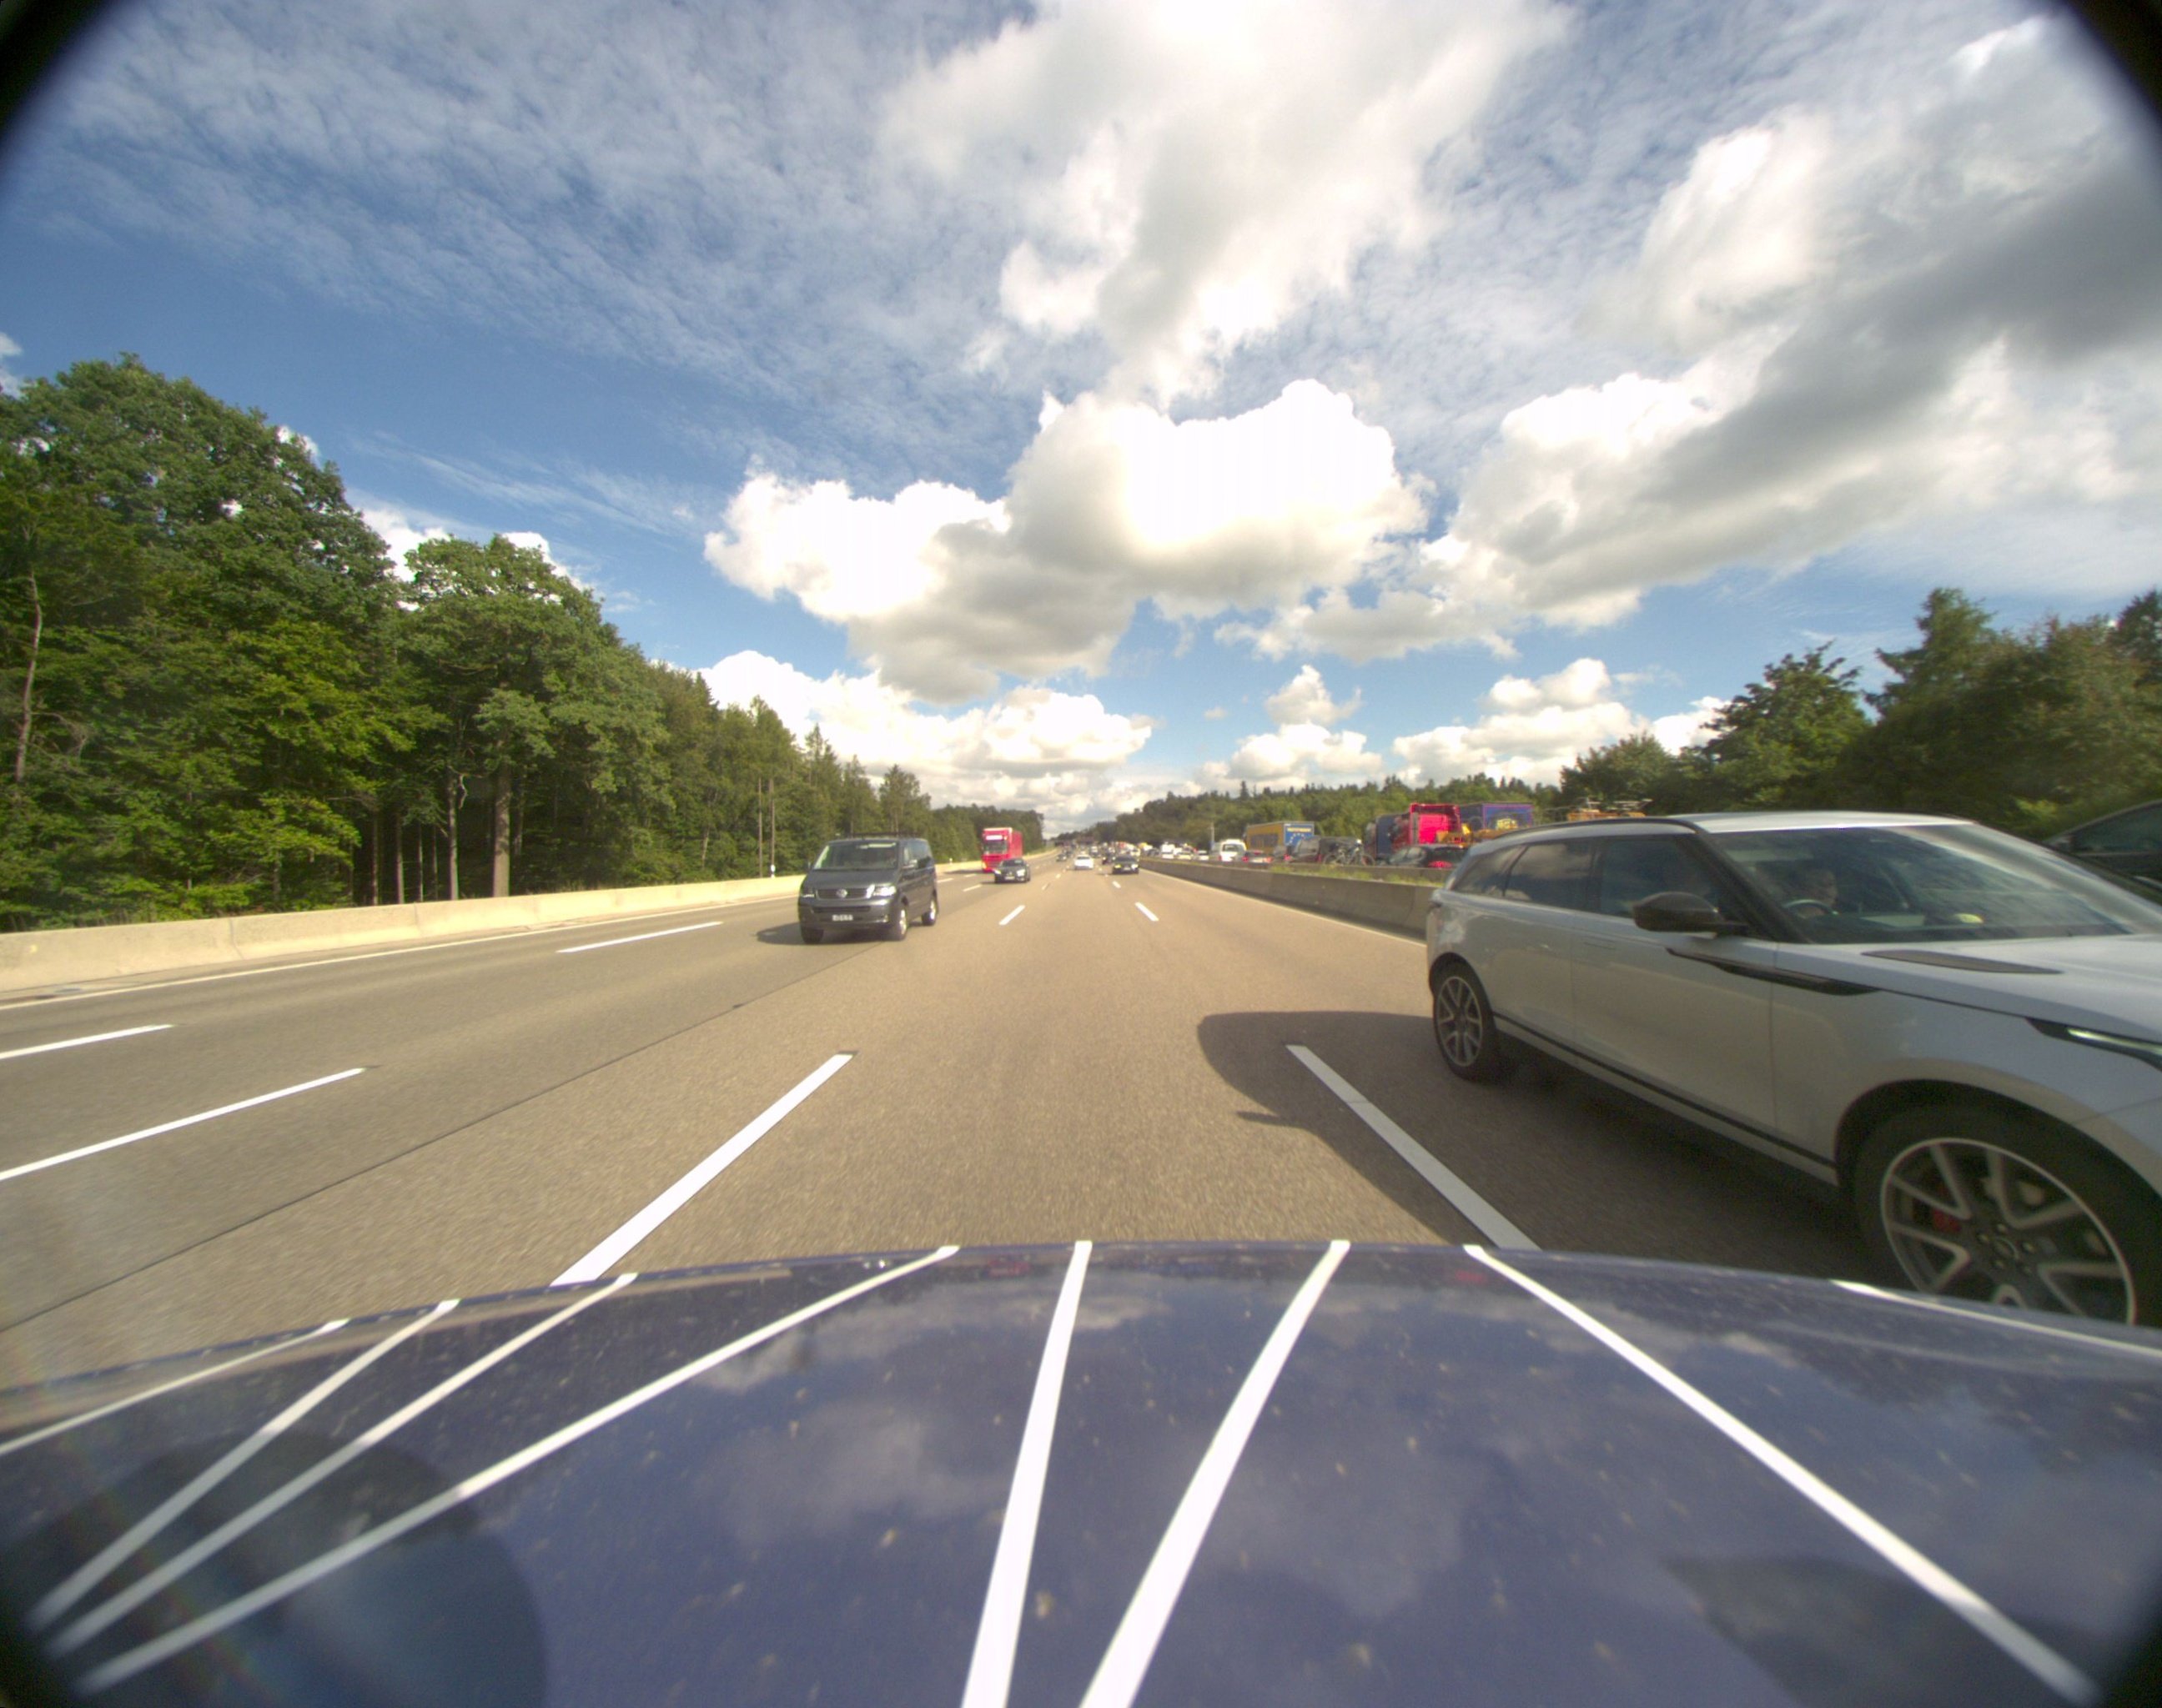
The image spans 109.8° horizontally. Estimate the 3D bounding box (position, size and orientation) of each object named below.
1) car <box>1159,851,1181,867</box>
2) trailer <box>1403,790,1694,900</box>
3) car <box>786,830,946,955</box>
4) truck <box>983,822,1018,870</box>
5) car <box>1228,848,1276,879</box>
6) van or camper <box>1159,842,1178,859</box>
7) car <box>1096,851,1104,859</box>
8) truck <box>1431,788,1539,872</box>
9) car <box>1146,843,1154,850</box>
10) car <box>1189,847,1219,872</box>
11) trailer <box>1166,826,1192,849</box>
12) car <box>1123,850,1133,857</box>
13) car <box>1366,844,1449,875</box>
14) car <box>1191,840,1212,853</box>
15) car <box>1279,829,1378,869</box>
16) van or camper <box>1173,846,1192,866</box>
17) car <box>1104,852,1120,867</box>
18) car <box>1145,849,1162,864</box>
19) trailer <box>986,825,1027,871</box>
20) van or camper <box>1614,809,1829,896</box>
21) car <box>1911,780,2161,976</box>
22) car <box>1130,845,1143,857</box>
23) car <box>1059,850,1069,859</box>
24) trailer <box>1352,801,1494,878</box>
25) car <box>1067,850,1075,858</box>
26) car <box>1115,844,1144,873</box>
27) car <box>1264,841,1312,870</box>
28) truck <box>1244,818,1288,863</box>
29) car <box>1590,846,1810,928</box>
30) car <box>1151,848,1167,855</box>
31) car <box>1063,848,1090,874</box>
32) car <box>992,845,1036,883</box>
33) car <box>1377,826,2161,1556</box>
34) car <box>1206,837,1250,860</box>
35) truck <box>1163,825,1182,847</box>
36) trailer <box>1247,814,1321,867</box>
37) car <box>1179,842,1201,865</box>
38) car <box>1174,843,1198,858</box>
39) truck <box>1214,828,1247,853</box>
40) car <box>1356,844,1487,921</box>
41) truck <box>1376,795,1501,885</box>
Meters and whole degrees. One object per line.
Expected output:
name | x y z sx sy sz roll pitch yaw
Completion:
car | 10.547 0.529 89.891 1.998 1.733 4.294 -3 1 0
trailer | 17.439 -0.283 30.541 2.735 3.316 14.218 -2 0 -1
car | -4.230 0.658 15.879 1.927 2.153 4.960 -1 1 -1
truck | -7.377 -0.739 70.197 2.532 4.179 4.652 -2 1 0
car | 9.651 0.502 43.233 1.728 1.594 3.999 -3 1 -1
van or camper | 14.351 -0.612 124.659 2.397 2.696 6.630 -2 2 2
car | 4.312 0.222 172.208 1.804 1.783 3.757 -1 1 0
truck | 21.325 -1.197 40.495 2.819 4.125 5.452 0 0 -1
car | 19.078 -2.077 210.423 1.804 1.865 3.950 -1 1 0
car | 10.066 0.394 62.349 1.691 1.806 4.294 -2 2 -1
trailer | 18.014 -3.099 140.777 2.837 3.953 16.000 -2 2 0
car | 9.678 -0.192 156.929 1.700 1.364 4.000 -3 0 1
car | 13.194 0.184 30.985 1.589 1.120 3.999 -3 0 -1
car | 13.819 -0.917 87.208 1.737 1.393 3.835 -2 2 -1
car | 9.613 -0.189 30.131 1.819 1.341 6.232 -3 0 -1
van or camper | 14.991 0.188 112.247 2.050 2.696 5.749 -2 2 1
car | 3.921 0.689 97.293 1.911 1.582 4.286 -2 2 0
car | 10.360 0.372 108.978 1.998 2.002 4.408 -1 2 1
trailer | -7.355 -0.709 76.860 2.531 4.096 14.373 -2 1 0
van or camper | 25.608 -0.088 30.967 2.579 3.059 7.194 -2 1 -1
car | 9.610 0.168 5.794 1.841 1.582 4.288 -2 1 -1
car | 10.406 -0.544 142.983 1.998 2.088 5.276 -2 2 1
car | -3.181 0.046 141.502 1.911 1.582 4.286 -2 2 -2
trailer | 21.326 -0.845 48.834 2.816 4.095 14.041 -3 0 1
car | -2.505 -0.047 190.909 1.804 1.865 3.950 -1 1 0
car | 3.486 0.290 55.676 1.919 2.002 4.000 -2 0 1
car | 13.604 0.071 50.160 1.750 1.756 4.841 -3 0 -1
truck | 17.815 -1.355 73.657 2.743 4.125 5.615 -2 2 -1
car | 13.710 0.646 17.169 1.640 1.582 3.999 -3 1 -1
car | 10.238 -0.314 100.034 1.639 0.853 4.604 -3 0 0
car | -0.303 0.556 61.753 1.998 2.002 4.000 -2 0 1
car | -3.804 0.531 43.881 1.998 2.002 4.000 -2 0 1
car | 3.308 0.714 3.387 1.905 1.597 5.104 -2 1 -1
car | 9.841 -0.411 51.278 1.854 1.347 5.486 -2 2 -1
truck | 18.047 -3.549 149.896 2.860 4.210 5.712 -2 1 1
trailer | 17.837 -1.281 68.055 2.778 4.211 13.654 -2 2 -1
car | 14.687 -0.106 102.603 1.998 2.946 5.402 -3 1 0
car | 10.237 -0.377 74.147 1.761 1.369 3.999 -2 0 -1
truck | 18.135 -1.596 92.413 2.334 2.785 7.948 -3 1 0
car | 9.398 0.699 21.390 1.691 1.806 4.294 -2 2 -1
truck | 17.367 -0.636 37.486 2.783 3.915 6.852 -2 0 -1
